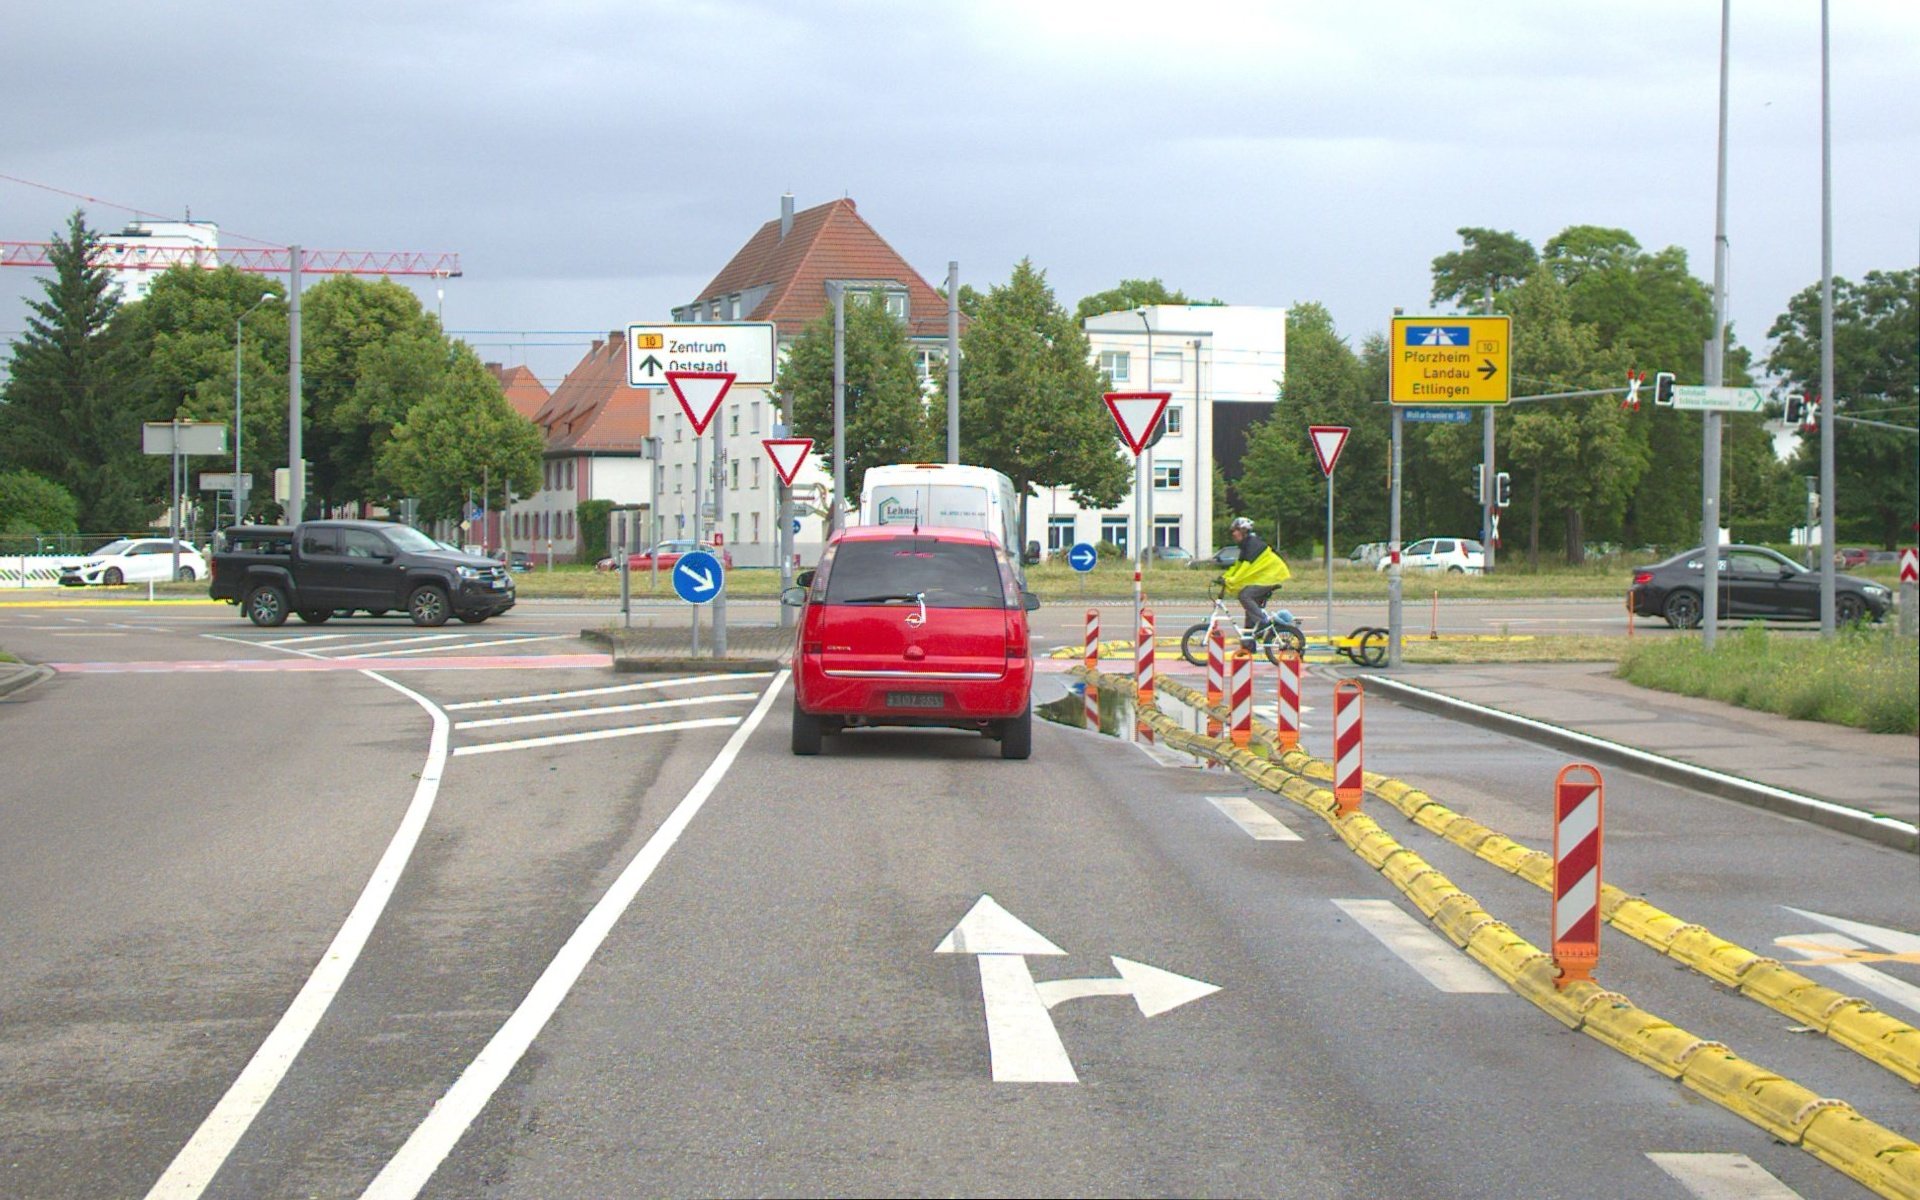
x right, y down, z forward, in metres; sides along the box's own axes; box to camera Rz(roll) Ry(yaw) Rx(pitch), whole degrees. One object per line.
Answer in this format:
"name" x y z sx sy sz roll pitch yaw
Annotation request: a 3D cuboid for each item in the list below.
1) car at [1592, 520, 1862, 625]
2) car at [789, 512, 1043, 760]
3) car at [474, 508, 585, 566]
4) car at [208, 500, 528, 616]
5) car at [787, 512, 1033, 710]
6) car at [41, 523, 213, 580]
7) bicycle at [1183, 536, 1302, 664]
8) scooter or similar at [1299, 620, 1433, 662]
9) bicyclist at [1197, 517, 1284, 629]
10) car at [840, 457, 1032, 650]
"car" 13.018 -0.478 58.579 4.362 1.744 1.999 0 1 9
"car" -0.321 0.211 25.011 1.673 1.635 3.627 1 1 -1
"car" -16.619 -2.435 132.754 3.986 1.843 2.000 -4 -2 -3
"car" -10.296 -0.746 59.853 5.029 1.965 2.222 0 1 17
"car" -0.461 0.053 31.586 2.059 1.642 4.607 1 1 -1
"car" -24.175 -1.421 99.906 1.998 1.629 4.665 1 1 36
"bicycle" 3.566 -0.001 43.454 1.477 1.606 0.606 0 1 2
"scooter or similar" 5.130 0.512 43.518 1.607 0.502 0.924 0 1 2
"bicyclist" 3.541 -0.345 43.448 1.062 1.396 0.615 0 1 2
"car" -0.272 -0.667 48.466 2.195 2.531 4.961 1 1 5
